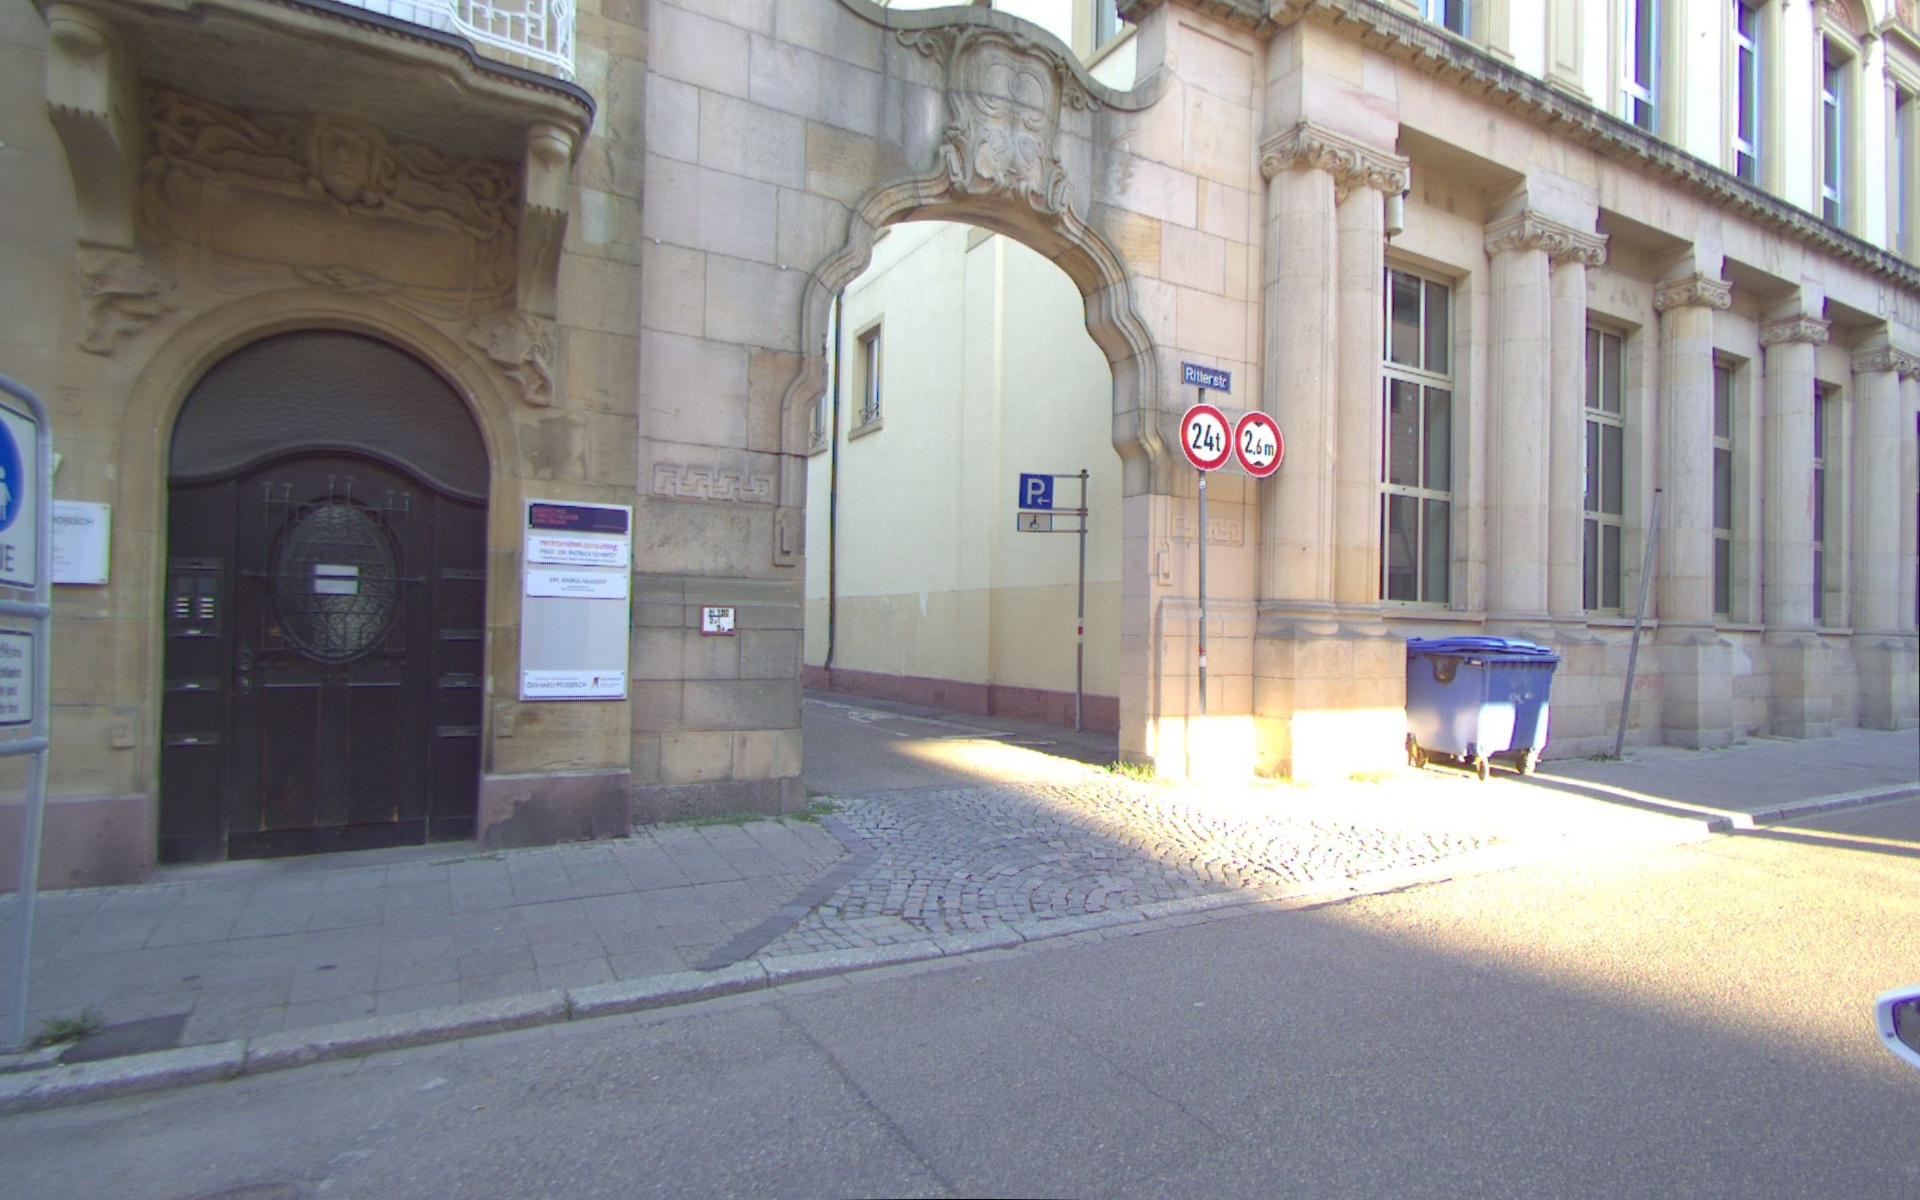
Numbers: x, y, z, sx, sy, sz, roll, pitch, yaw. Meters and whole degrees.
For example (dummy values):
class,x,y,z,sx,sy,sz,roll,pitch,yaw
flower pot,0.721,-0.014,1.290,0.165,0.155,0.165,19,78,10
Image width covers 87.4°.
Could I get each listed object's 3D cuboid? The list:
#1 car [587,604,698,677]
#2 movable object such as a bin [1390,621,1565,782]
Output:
class,x,y,z,sx,sy,sz,roll,pitch,yaw
car,-8.852,1.077,27.790,1.842,1.778,4.126,6,-4,-32
movable object such as a bin,5.255,0.986,10.232,1.171,1.494,1.070,2,0,-26
